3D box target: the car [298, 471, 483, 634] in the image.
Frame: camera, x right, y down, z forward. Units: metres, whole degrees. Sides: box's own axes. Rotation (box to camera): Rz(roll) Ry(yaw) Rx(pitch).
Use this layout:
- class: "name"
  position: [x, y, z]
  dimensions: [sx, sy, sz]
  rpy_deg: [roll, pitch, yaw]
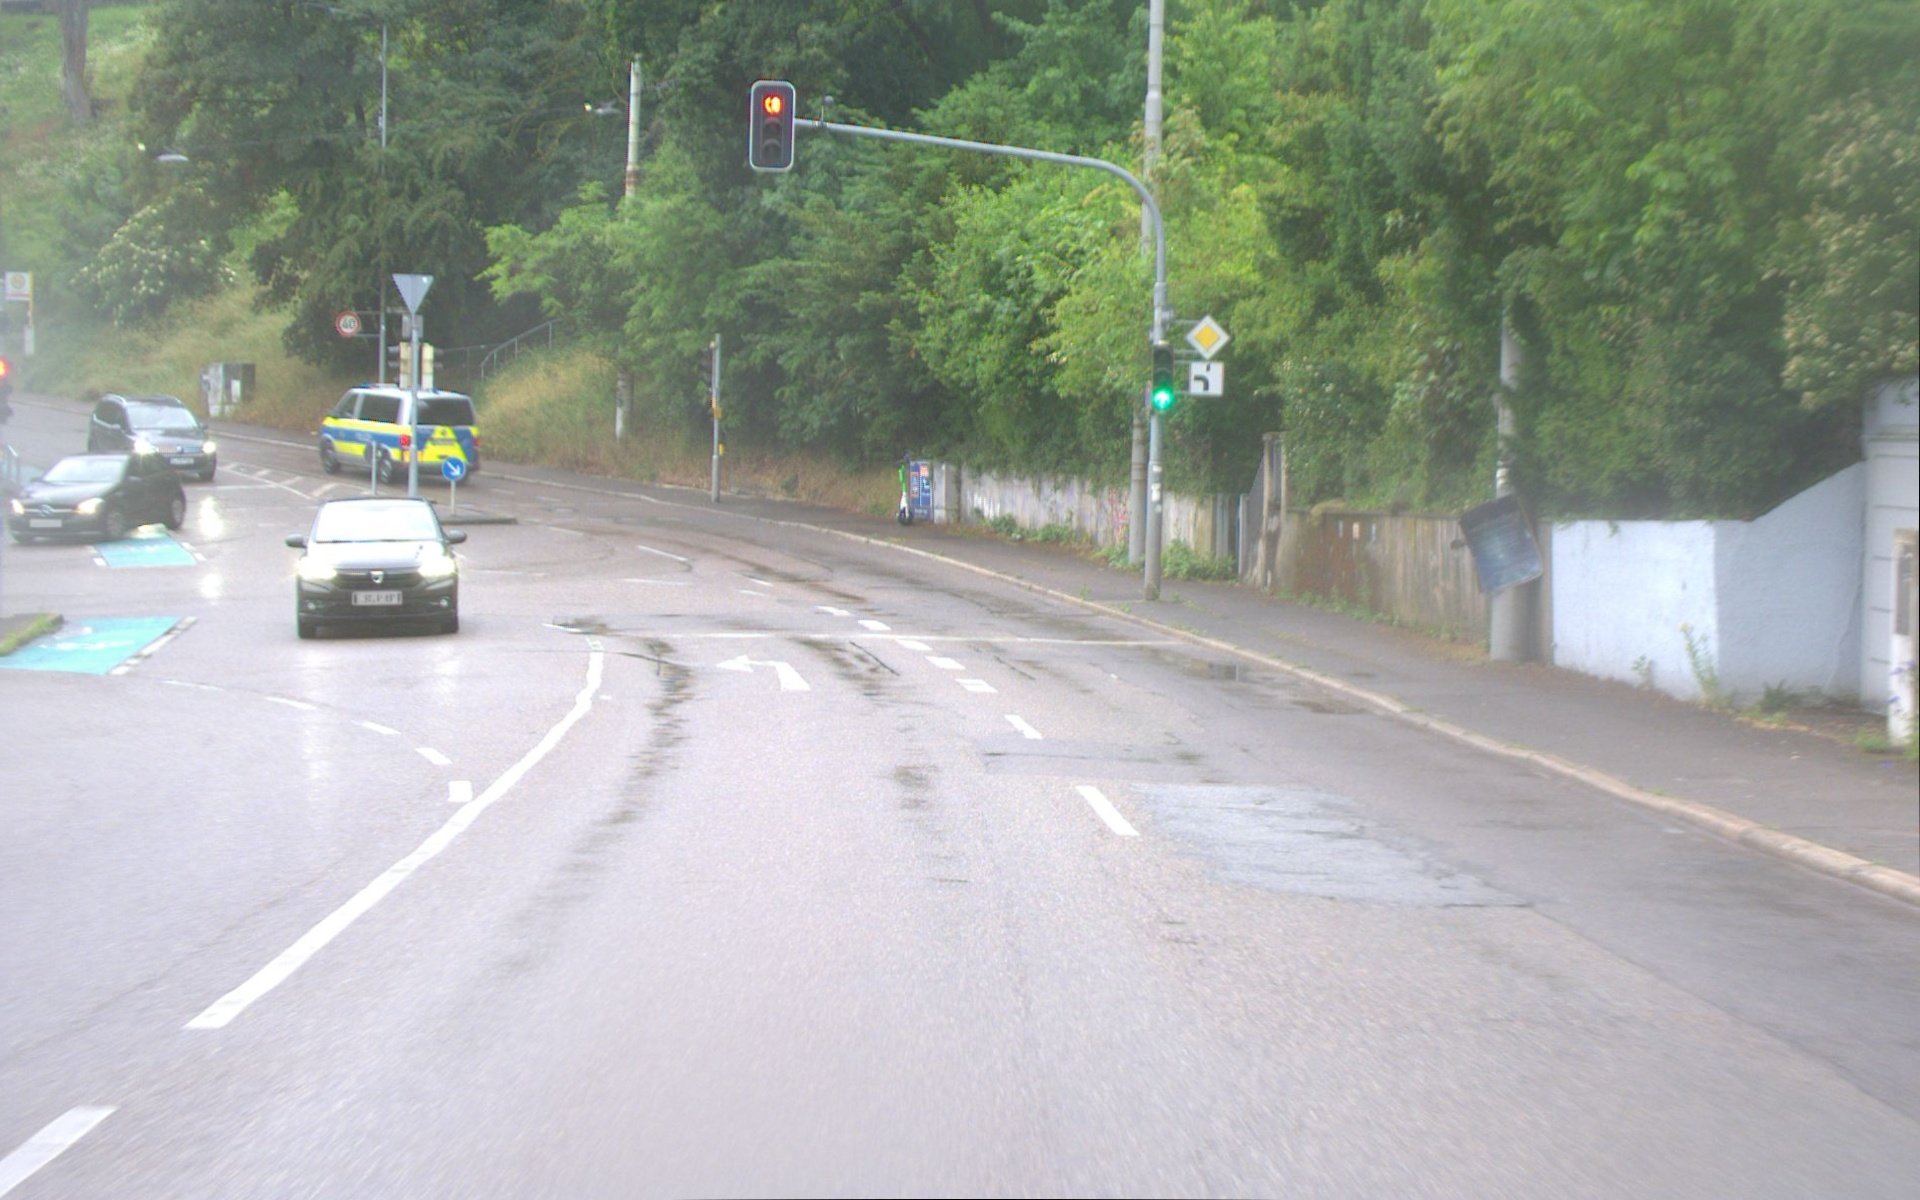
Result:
- class: "car"
  position: [-6.342, -0.580, 38.633]
  dimensions: [1.741, 1.544, 4.002]
  rpy_deg: [-1, 4, -6]

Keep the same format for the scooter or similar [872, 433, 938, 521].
- class: "scooter or similar"
  position: [-0.977, -2.188, 60.747]
  dimensions: [0.616, 1.416, 2.160]
  rpy_deg: [-1, 6, -16]

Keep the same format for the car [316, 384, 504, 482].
- class: "car"
  position: [-11.753, -3.597, 73.311]
  dimensions: [2.309, 1.932, 4.325]
  rpy_deg: [-3, 6, -34]

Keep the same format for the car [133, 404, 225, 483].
- class: "car"
  position: [-16.420, -3.316, 72.180]
  dimensions: [1.740, 1.544, 4.002]
  rpy_deg: [-2, 4, -14]

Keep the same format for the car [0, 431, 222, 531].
- class: "car"
  position: [-14.463, -2.035, 58.253]
  dimensions: [1.743, 1.544, 3.996]
  rpy_deg: [0, 3, 24]
